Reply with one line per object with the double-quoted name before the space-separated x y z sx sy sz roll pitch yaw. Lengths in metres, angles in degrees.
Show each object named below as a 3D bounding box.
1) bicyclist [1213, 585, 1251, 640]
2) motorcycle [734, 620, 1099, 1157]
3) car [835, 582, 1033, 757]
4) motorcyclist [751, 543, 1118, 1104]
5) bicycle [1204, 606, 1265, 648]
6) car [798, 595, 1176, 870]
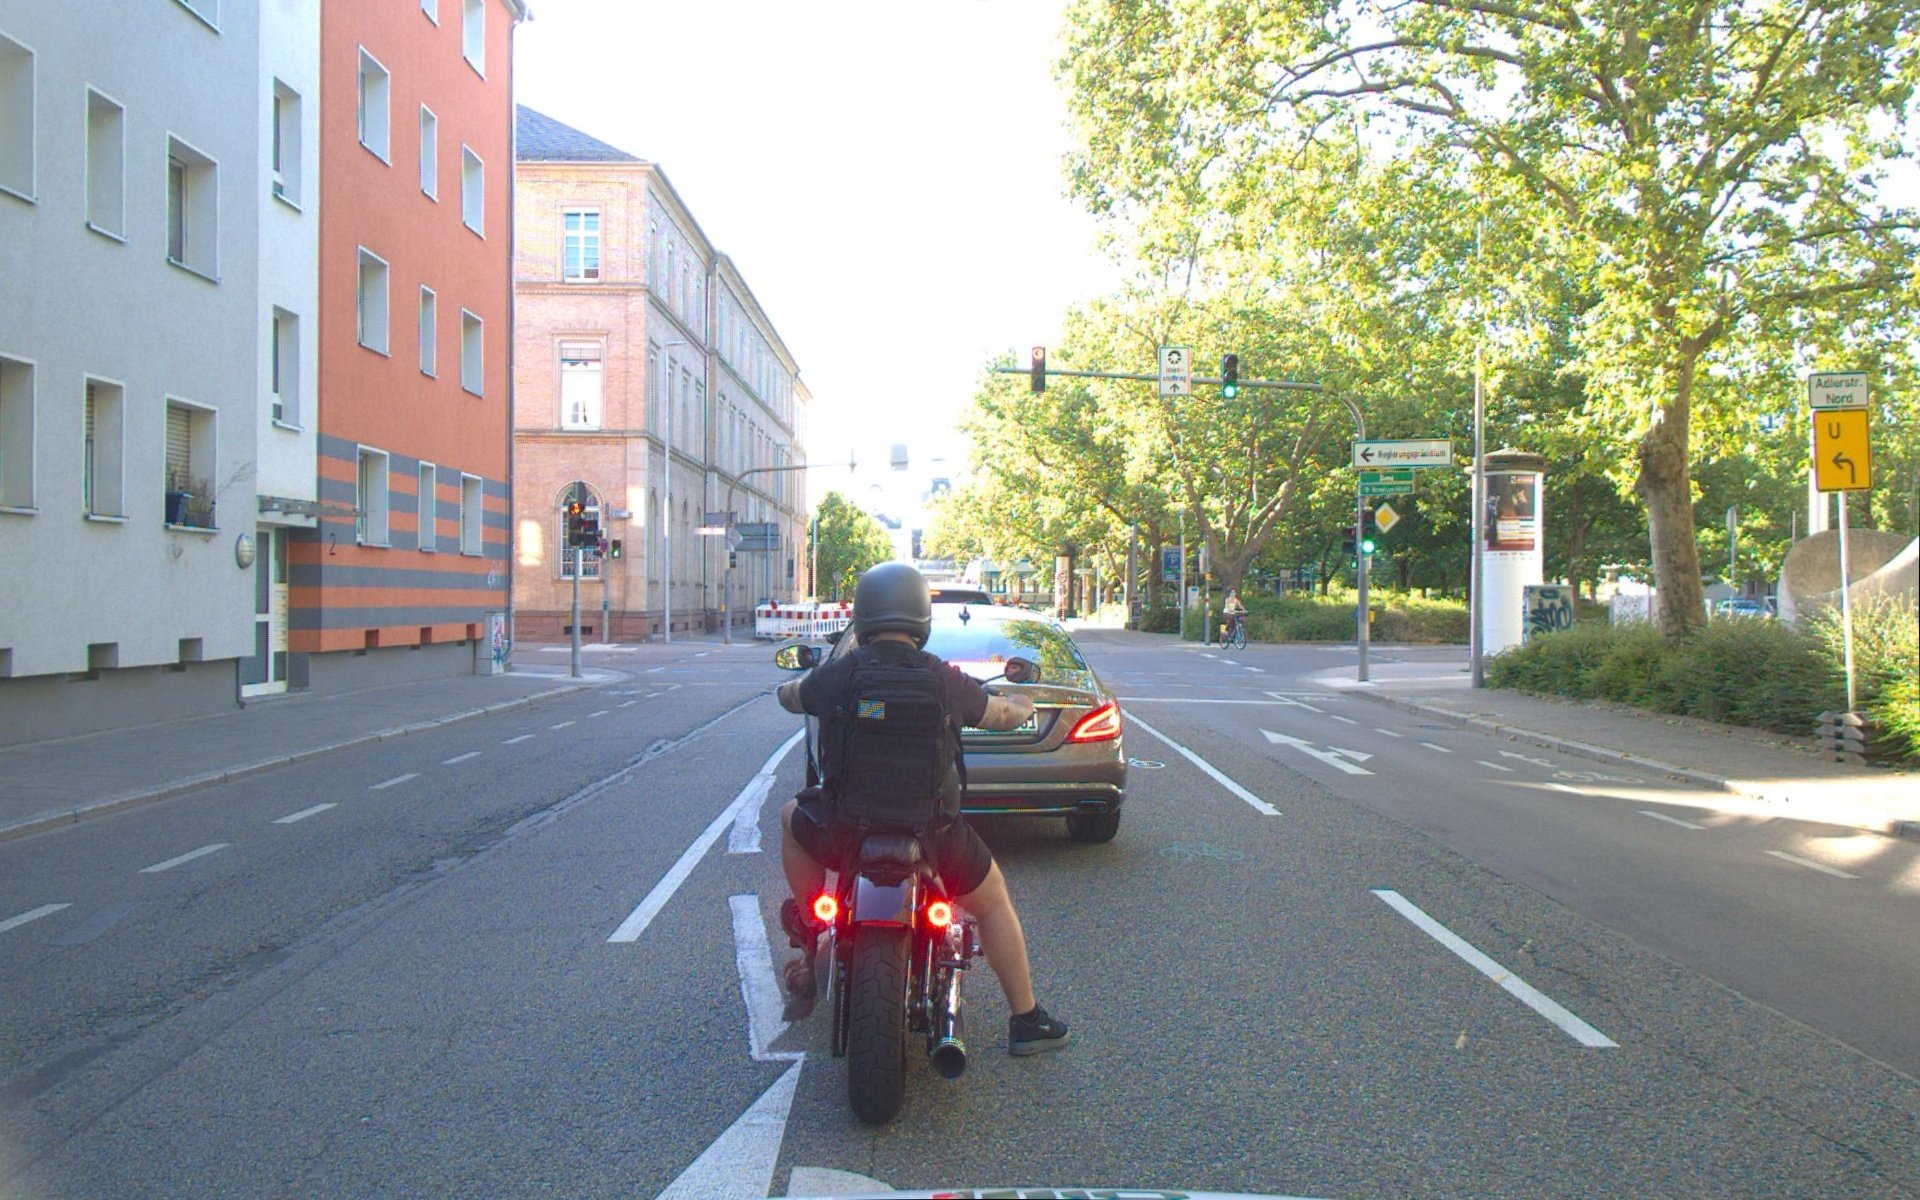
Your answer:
"bicyclist" 8.068 0.377 49.132 0.707 1.610 0.929 1 -1 -25
"motorcycle" -0.129 0.776 5.522 0.942 1.380 2.319 1 0 -1
"car" -0.344 0.611 16.753 1.777 1.563 3.846 0 0 -3
"motorcyclist" -0.079 0.651 5.254 1.039 1.610 0.908 1 0 -1
"bicycle" 8.123 0.796 48.999 0.706 1.193 2.159 1 0 -24
"car" -0.043 0.702 11.104 1.867 1.466 4.280 0 0 -9
